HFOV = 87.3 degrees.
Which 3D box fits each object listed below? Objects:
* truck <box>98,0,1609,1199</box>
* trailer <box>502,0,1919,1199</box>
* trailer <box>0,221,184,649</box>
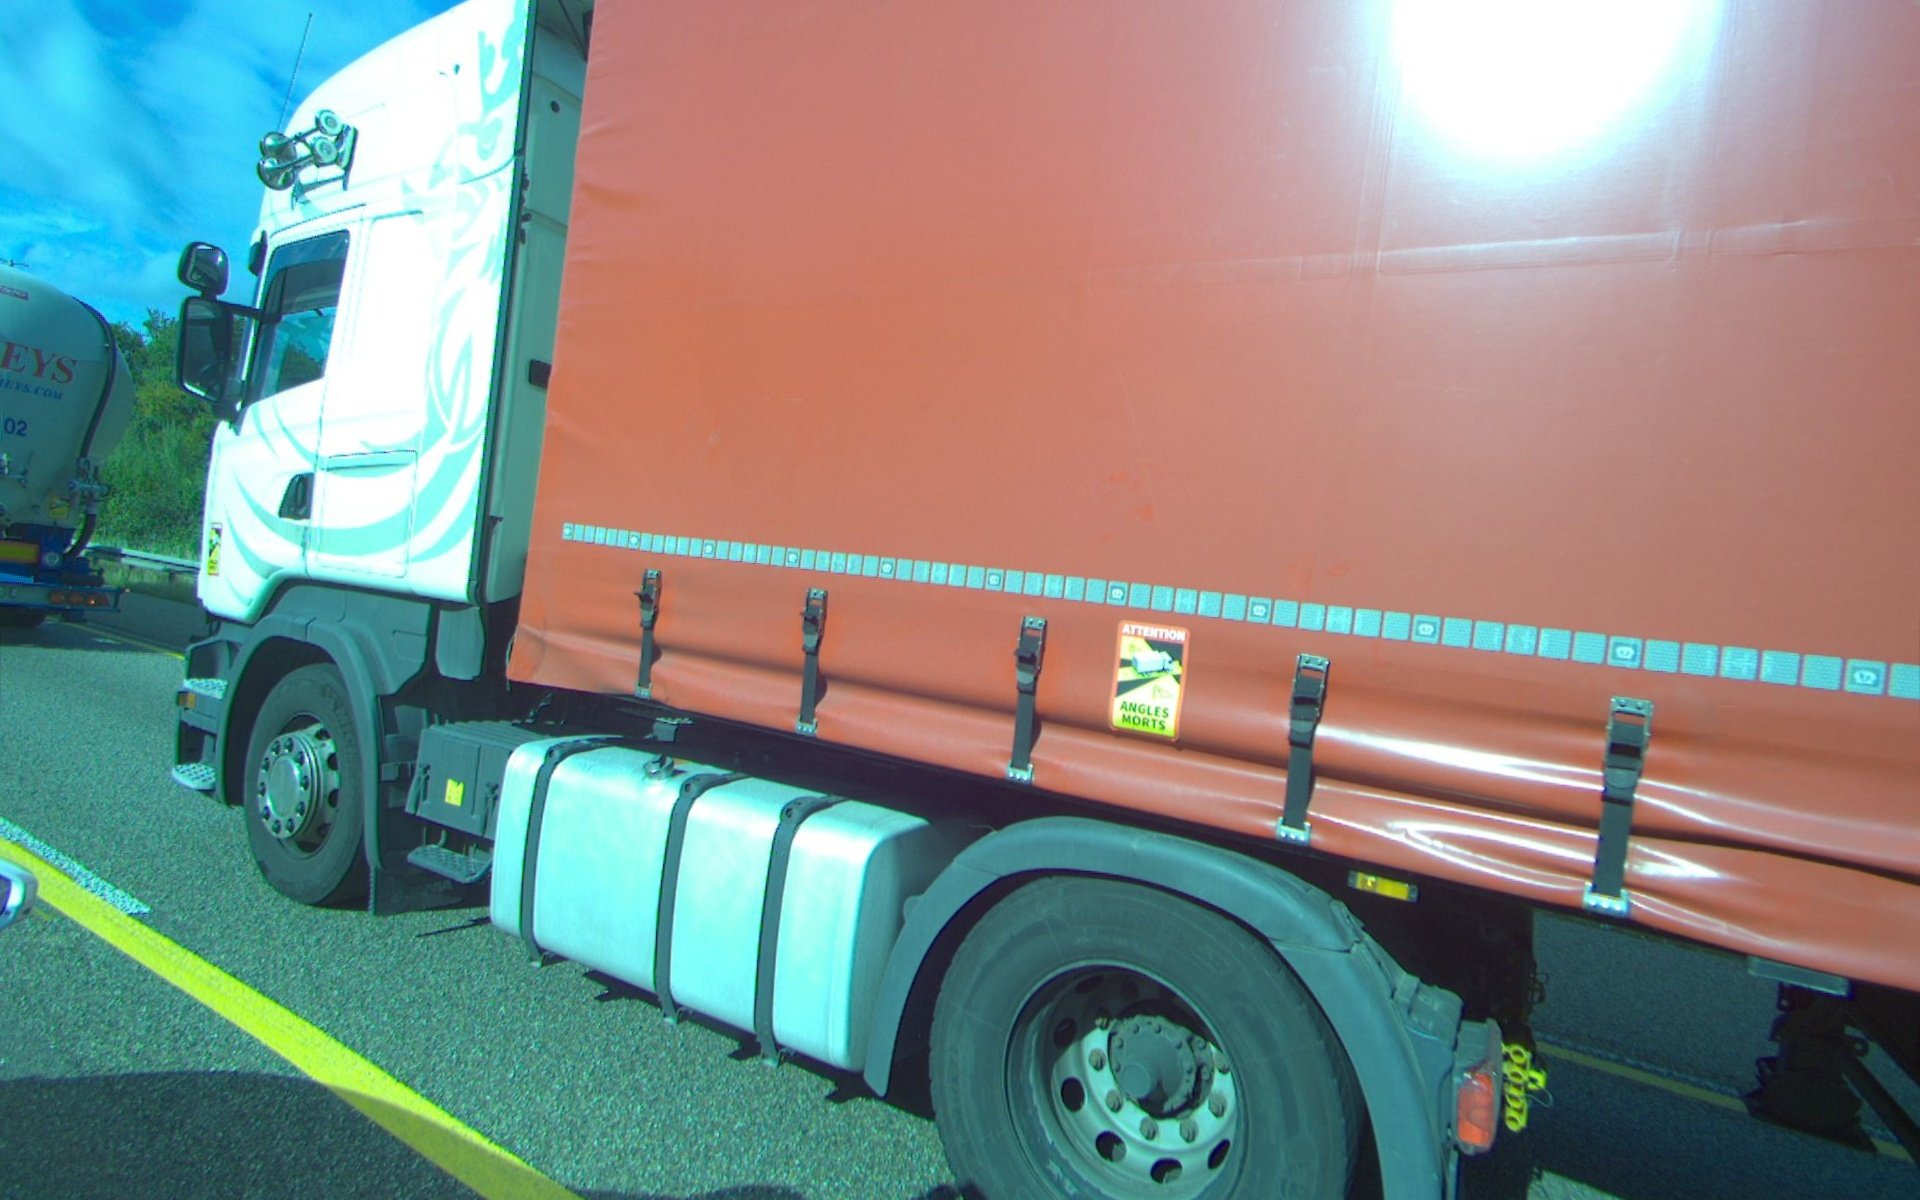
[{"bbox_3d":[-0.690,-0.551,4.390,5.614,4.006,2.673,7,-1,31],"label":"truck"},{"bbox_3d":[5.149,0.150,0.871,13.192,4.015,2.705,6,-2,31],"label":"trailer"},{"bbox_3d":[-14.521,-2.193,12.894,12.388,3.989,2.649,7,-2,31],"label":"trailer"}]
